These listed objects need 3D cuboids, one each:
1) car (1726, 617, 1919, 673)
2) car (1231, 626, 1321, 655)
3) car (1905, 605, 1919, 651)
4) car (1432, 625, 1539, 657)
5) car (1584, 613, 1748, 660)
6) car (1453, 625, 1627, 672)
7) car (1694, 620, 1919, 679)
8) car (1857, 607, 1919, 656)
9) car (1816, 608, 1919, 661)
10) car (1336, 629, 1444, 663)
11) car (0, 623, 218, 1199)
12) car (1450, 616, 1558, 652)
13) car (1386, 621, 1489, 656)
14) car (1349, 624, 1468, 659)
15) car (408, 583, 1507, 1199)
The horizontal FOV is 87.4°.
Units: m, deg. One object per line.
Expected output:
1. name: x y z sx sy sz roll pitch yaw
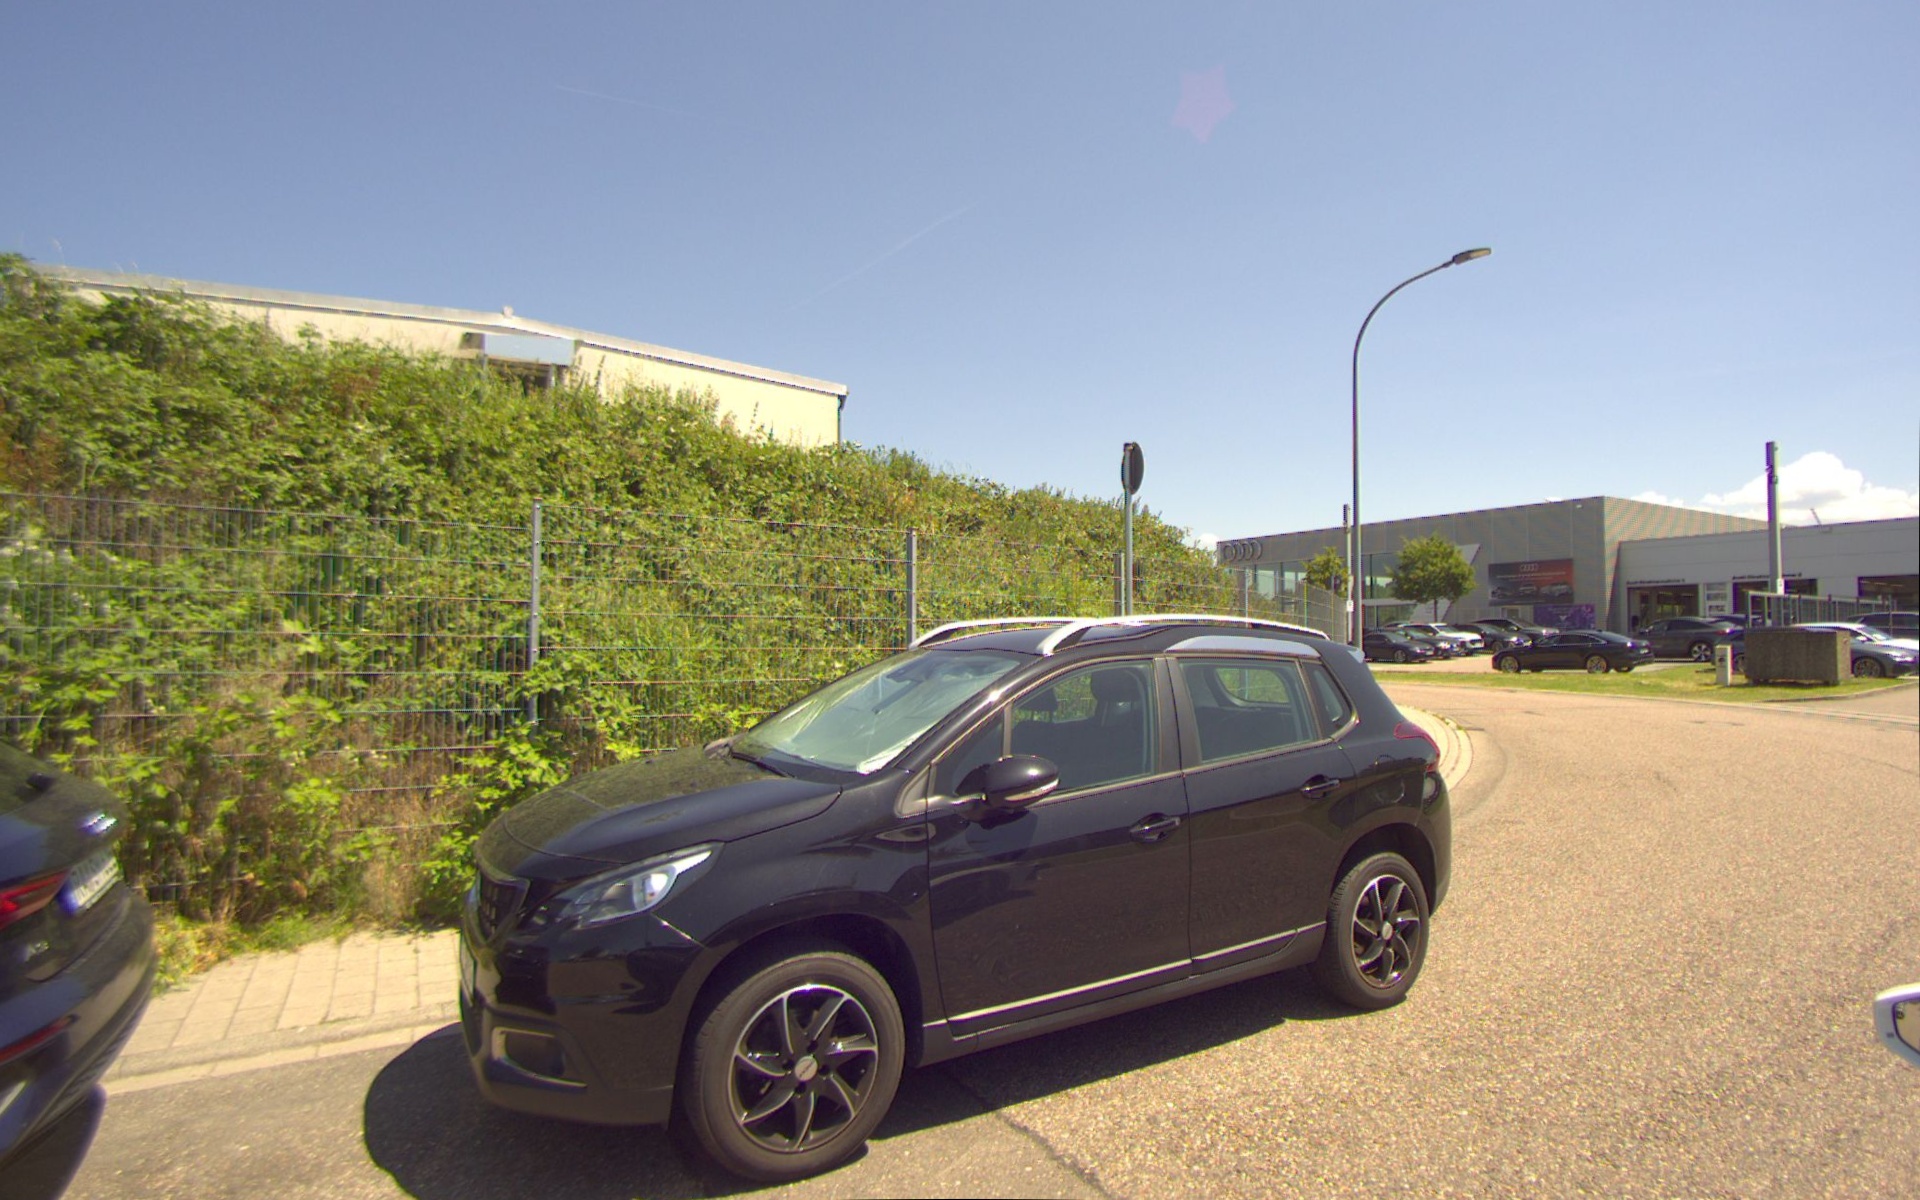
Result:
1. car: 26.415 1.338 30.306 1.805 1.549 4.903 0 -2 -32
2. car: 16.448 2.124 52.470 1.945 1.384 4.192 -2 -1 -32
3. car: 36.389 0.953 35.243 1.946 1.651 4.341 0 -2 -32
4. car: 26.266 2.032 50.339 1.946 1.496 4.335 0 -2 -32
5. car: 26.651 1.397 38.104 1.810 1.665 4.745 1 -3 -32
6. car: 20.141 1.670 35.143 1.864 1.474 4.981 -1 -1 -32
7. car: 24.142 1.379 28.573 1.946 1.487 4.903 0 -2 -32
8. car: 33.384 1.039 33.650 1.946 1.651 4.587 0 -2 -32
9. car: 30.790 1.099 32.292 1.946 1.651 4.587 0 -2 -32
10. car: 19.733 2.089 46.282 1.946 1.393 4.275 0 -1 -32
11. car: -4.124 0.786 1.849 4.234 1.473 1.925 1 -3 -32
12. car: 28.872 1.805 53.416 1.946 1.762 4.689 0 -2 -32
13. car: 23.635 1.904 49.893 1.946 1.634 4.252 0 -2 -32
14. car: 21.488 1.990 48.328 1.946 1.573 4.963 0 -2 -32
15. car: 0.179 0.830 3.976 4.085 1.575 1.646 1 -3 -31
